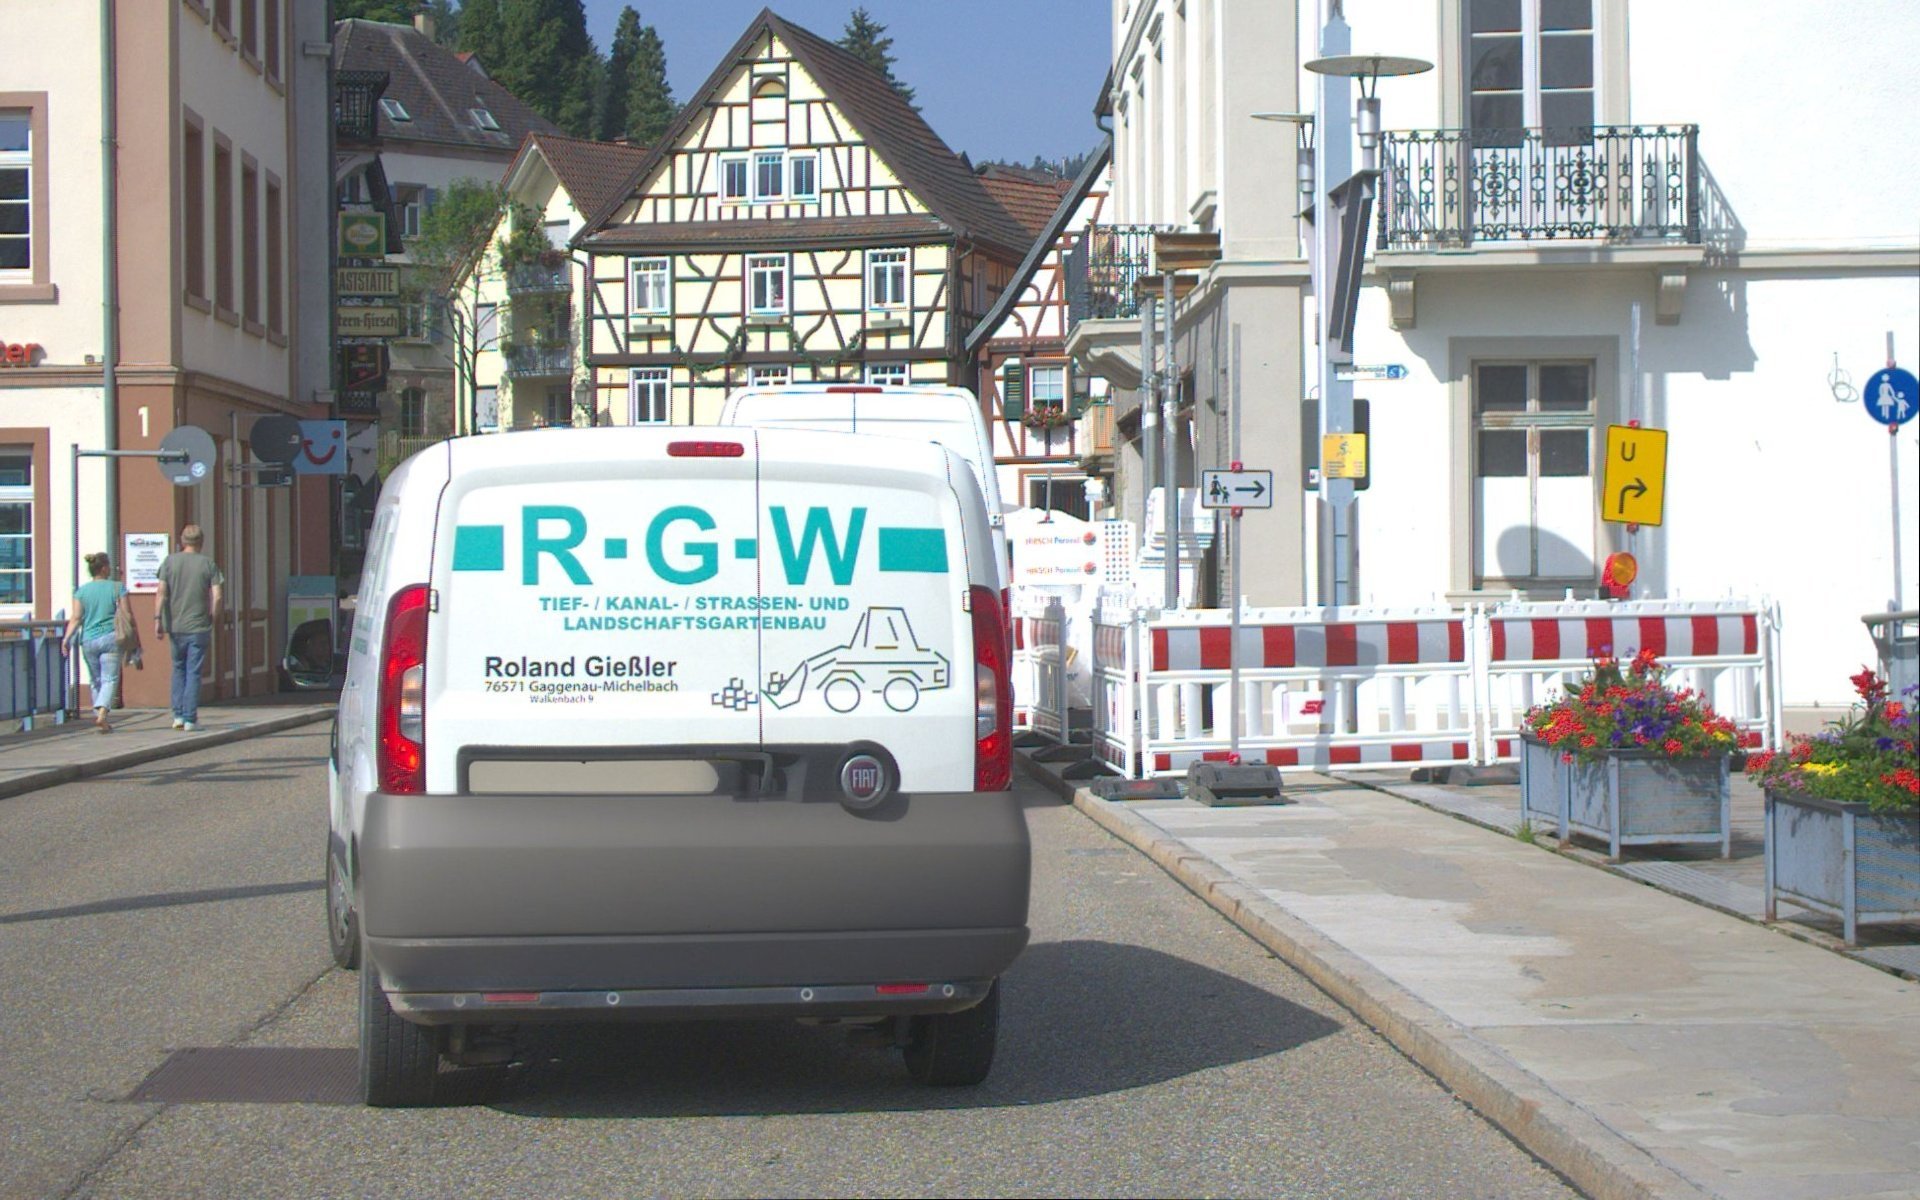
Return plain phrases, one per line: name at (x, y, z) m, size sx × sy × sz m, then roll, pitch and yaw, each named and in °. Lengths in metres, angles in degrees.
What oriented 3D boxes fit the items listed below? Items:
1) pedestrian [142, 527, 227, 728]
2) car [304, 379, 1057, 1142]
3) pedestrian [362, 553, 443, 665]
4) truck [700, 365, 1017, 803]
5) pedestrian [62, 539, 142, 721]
pedestrian at (-6.910, 0.234, 30.673) m, size 0.614 × 1.756 × 0.864 m, roll 0°, pitch 1°, yaw -4°
car at (-1.094, 0.370, 10.846) m, size 1.844 × 1.899 × 4.316 m, roll 0°, pitch 1°, yaw -12°
pedestrian at (-8.280, 0.126, 51.106) m, size 1.073 × 1.641 × 0.686 m, roll 0°, pitch 2°, yaw 0°
truck at (-0.728, -0.126, 22.401) m, size 1.861 × 2.576 × 4.261 m, roll 0°, pitch 1°, yaw -4°
pedestrian at (-7.659, 0.264, 30.696) m, size 0.583 × 1.604 × 0.537 m, roll 0°, pitch 1°, yaw -2°
